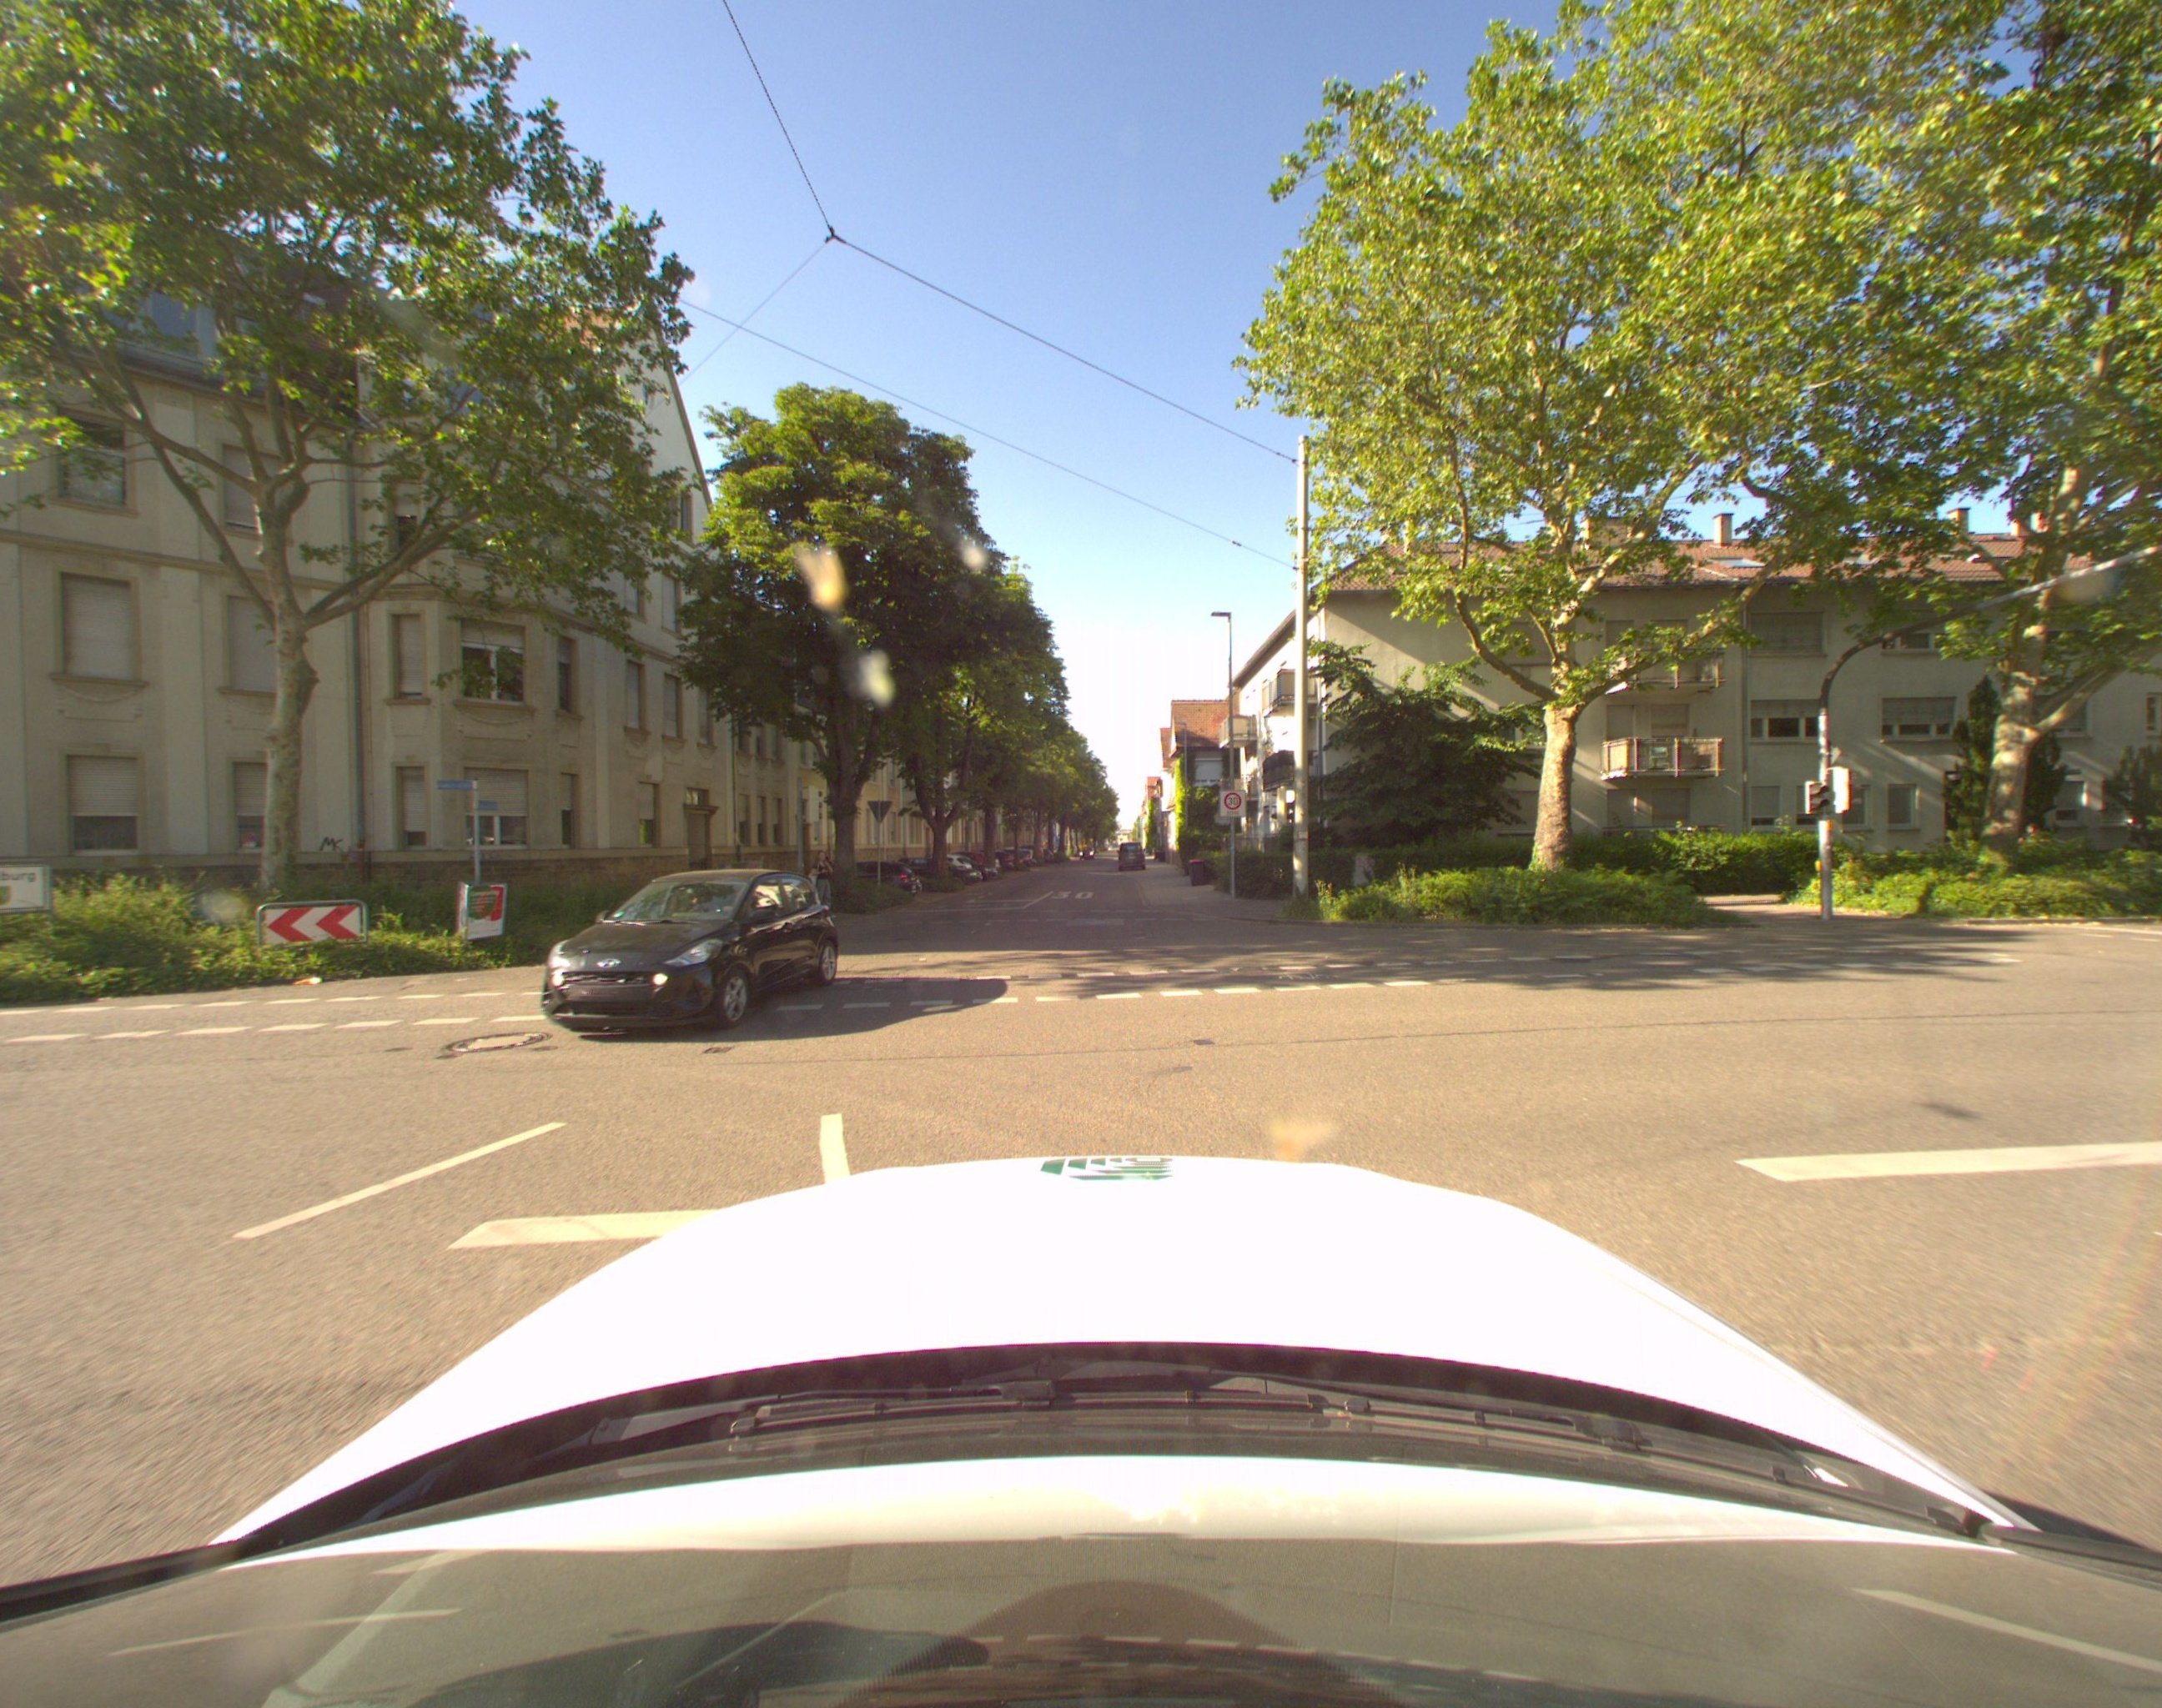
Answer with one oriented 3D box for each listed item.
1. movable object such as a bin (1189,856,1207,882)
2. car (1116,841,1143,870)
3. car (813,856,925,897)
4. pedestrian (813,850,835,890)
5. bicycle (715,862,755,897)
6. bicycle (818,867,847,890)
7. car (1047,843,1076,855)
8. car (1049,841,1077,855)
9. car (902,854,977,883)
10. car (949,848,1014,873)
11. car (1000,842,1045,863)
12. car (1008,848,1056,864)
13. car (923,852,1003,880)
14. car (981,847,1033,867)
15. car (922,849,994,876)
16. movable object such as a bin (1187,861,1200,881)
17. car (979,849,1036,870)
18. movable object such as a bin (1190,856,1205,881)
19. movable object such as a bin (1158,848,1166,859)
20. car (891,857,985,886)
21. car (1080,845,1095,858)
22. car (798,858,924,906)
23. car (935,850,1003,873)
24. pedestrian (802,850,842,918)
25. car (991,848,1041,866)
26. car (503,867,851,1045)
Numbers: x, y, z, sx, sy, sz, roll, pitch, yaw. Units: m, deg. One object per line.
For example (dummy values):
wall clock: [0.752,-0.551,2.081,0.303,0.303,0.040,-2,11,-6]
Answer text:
movable object such as a bin: [4.935,0.634,34.510,0.595,1.044,0.707,-5,0,1]
car: [3.467,0.073,58.003,1.857,1.916,4.787,-1,1,3]
car: [-8.117,0.840,31.391,3.874,1.415,1.613,-1,1,-3]
pedestrian: [-10.897,0.655,34.548,0.457,1.658,0.897,-1,0,11]
bicycle: [-12.666,0.914,29.876,0.511,1.154,1.984,1,2,3]
bicycle: [-10.464,1.020,34.279,0.469,0.911,1.601,-1,1,10]
car: [-2.648,-0.685,112.762,3.975,1.464,1.797,1,0,-1]
car: [-2.545,-0.842,115.142,3.975,1.760,1.797,1,0,-1]
car: [-7.245,0.728,41.910,3.417,1.452,1.705,0,0,5]
car: [-6.536,0.419,53.707,3.969,1.566,1.866,0,1,4]
car: [-5.391,-0.151,75.479,3.964,1.855,1.830,-1,0,1]
car: [-4.787,0.197,80.267,4.515,1.503,1.893,0,1,1]
car: [-6.386,0.660,44.372,3.969,1.482,1.787,0,1,4]
car: [-5.984,0.240,65.801,3.971,1.592,1.860,0,1,2]
car: [-7.423,0.500,49.369,3.969,1.507,1.724,-2,0,4]
movable object such as a bin: [5.416,0.828,39.287,0.501,0.915,0.574,-5,0,5]
car: [-5.389,0.416,59.965,3.971,1.514,1.749,0,0,2]
movable object such as a bin: [5.054,0.614,35.325,0.481,1.044,0.657,-5,0,1]
movable object such as a bin: [7.847,-0.067,78.820,0.645,1.039,0.828,-2,1,1]
car: [-6.899,0.827,39.597,4.195,1.349,1.704,0,0,2]
car: [0.760,-0.287,97.695,1.634,1.508,3.705,-2,1,3]
car: [-7.643,0.961,28.506,3.866,1.475,1.616,-2,0,2]
car: [-7.078,0.473,51.715,3.969,1.403,1.832,0,1,4]
pedestrian: [-6.600,0.760,20.781,0.689,1.681,0.683,-1,1,14]
car: [-5.501,0.264,68.822,3.881,1.446,1.863,0,1,7]
car: [-4.004,0.907,8.861,1.653,1.464,3.812,-1,0,4]
